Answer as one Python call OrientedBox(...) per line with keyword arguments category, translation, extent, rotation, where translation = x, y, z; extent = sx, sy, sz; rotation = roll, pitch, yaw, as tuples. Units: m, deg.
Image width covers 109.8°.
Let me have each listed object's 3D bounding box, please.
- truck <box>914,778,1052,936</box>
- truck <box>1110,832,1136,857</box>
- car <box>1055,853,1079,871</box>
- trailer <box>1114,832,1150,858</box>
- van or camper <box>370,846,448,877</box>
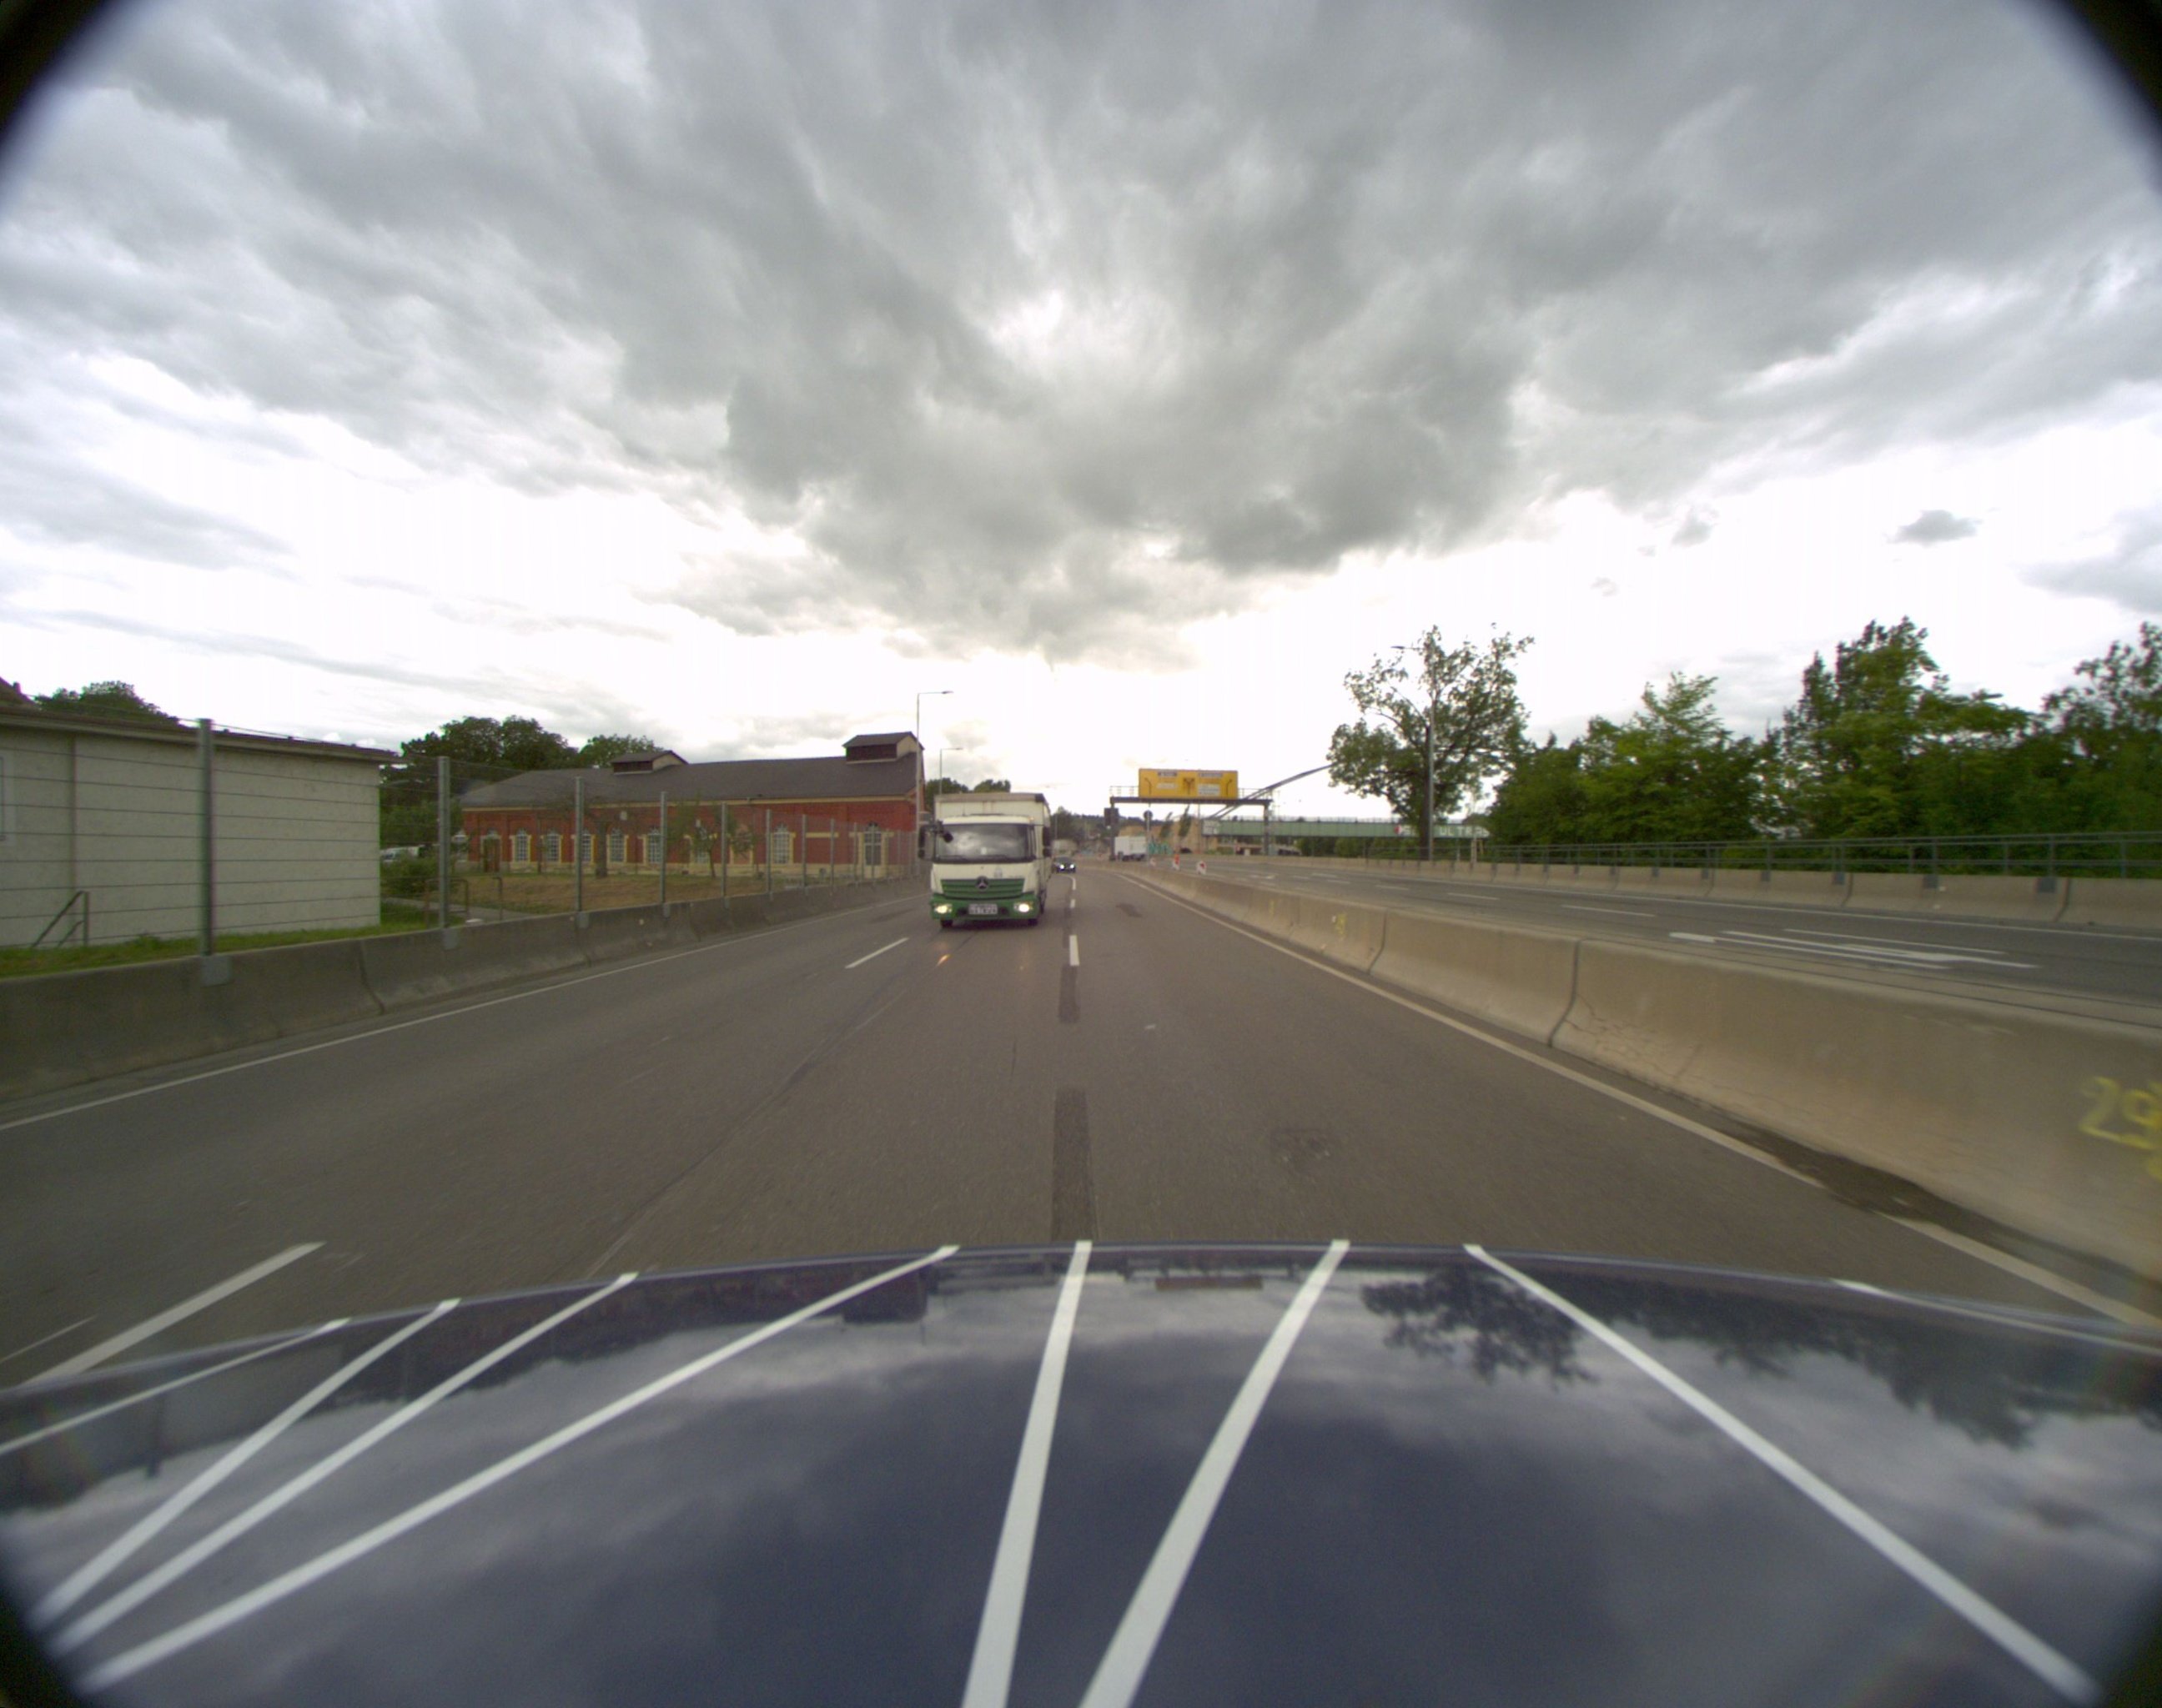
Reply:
OrientedBox(category="truck", translation=(-2.204, 0.079, 19.753), extent=(2.637, 3.220, 7.414), rotation=(-3, 0, -1))
OrientedBox(category="truck", translation=(5.328, -1.159, 96.675), extent=(2.282, 3.096, 2.982), rotation=(-2, 1, -19))
OrientedBox(category="car", translation=(-1.229, 0.683, 66.582), extent=(1.825, 1.440, 3.610), rotation=(-1, 0, -5))
OrientedBox(category="trailer", translation=(6.275, -1.110, 94.247), extent=(2.282, 3.120, 5.701), rotation=(-2, 1, -20))
OrientedBox(category="van or camper", translation=(-47.330, 0.512, 53.532), extent=(4.561, 2.133, 2.002), rotation=(-1, 1, 17))
